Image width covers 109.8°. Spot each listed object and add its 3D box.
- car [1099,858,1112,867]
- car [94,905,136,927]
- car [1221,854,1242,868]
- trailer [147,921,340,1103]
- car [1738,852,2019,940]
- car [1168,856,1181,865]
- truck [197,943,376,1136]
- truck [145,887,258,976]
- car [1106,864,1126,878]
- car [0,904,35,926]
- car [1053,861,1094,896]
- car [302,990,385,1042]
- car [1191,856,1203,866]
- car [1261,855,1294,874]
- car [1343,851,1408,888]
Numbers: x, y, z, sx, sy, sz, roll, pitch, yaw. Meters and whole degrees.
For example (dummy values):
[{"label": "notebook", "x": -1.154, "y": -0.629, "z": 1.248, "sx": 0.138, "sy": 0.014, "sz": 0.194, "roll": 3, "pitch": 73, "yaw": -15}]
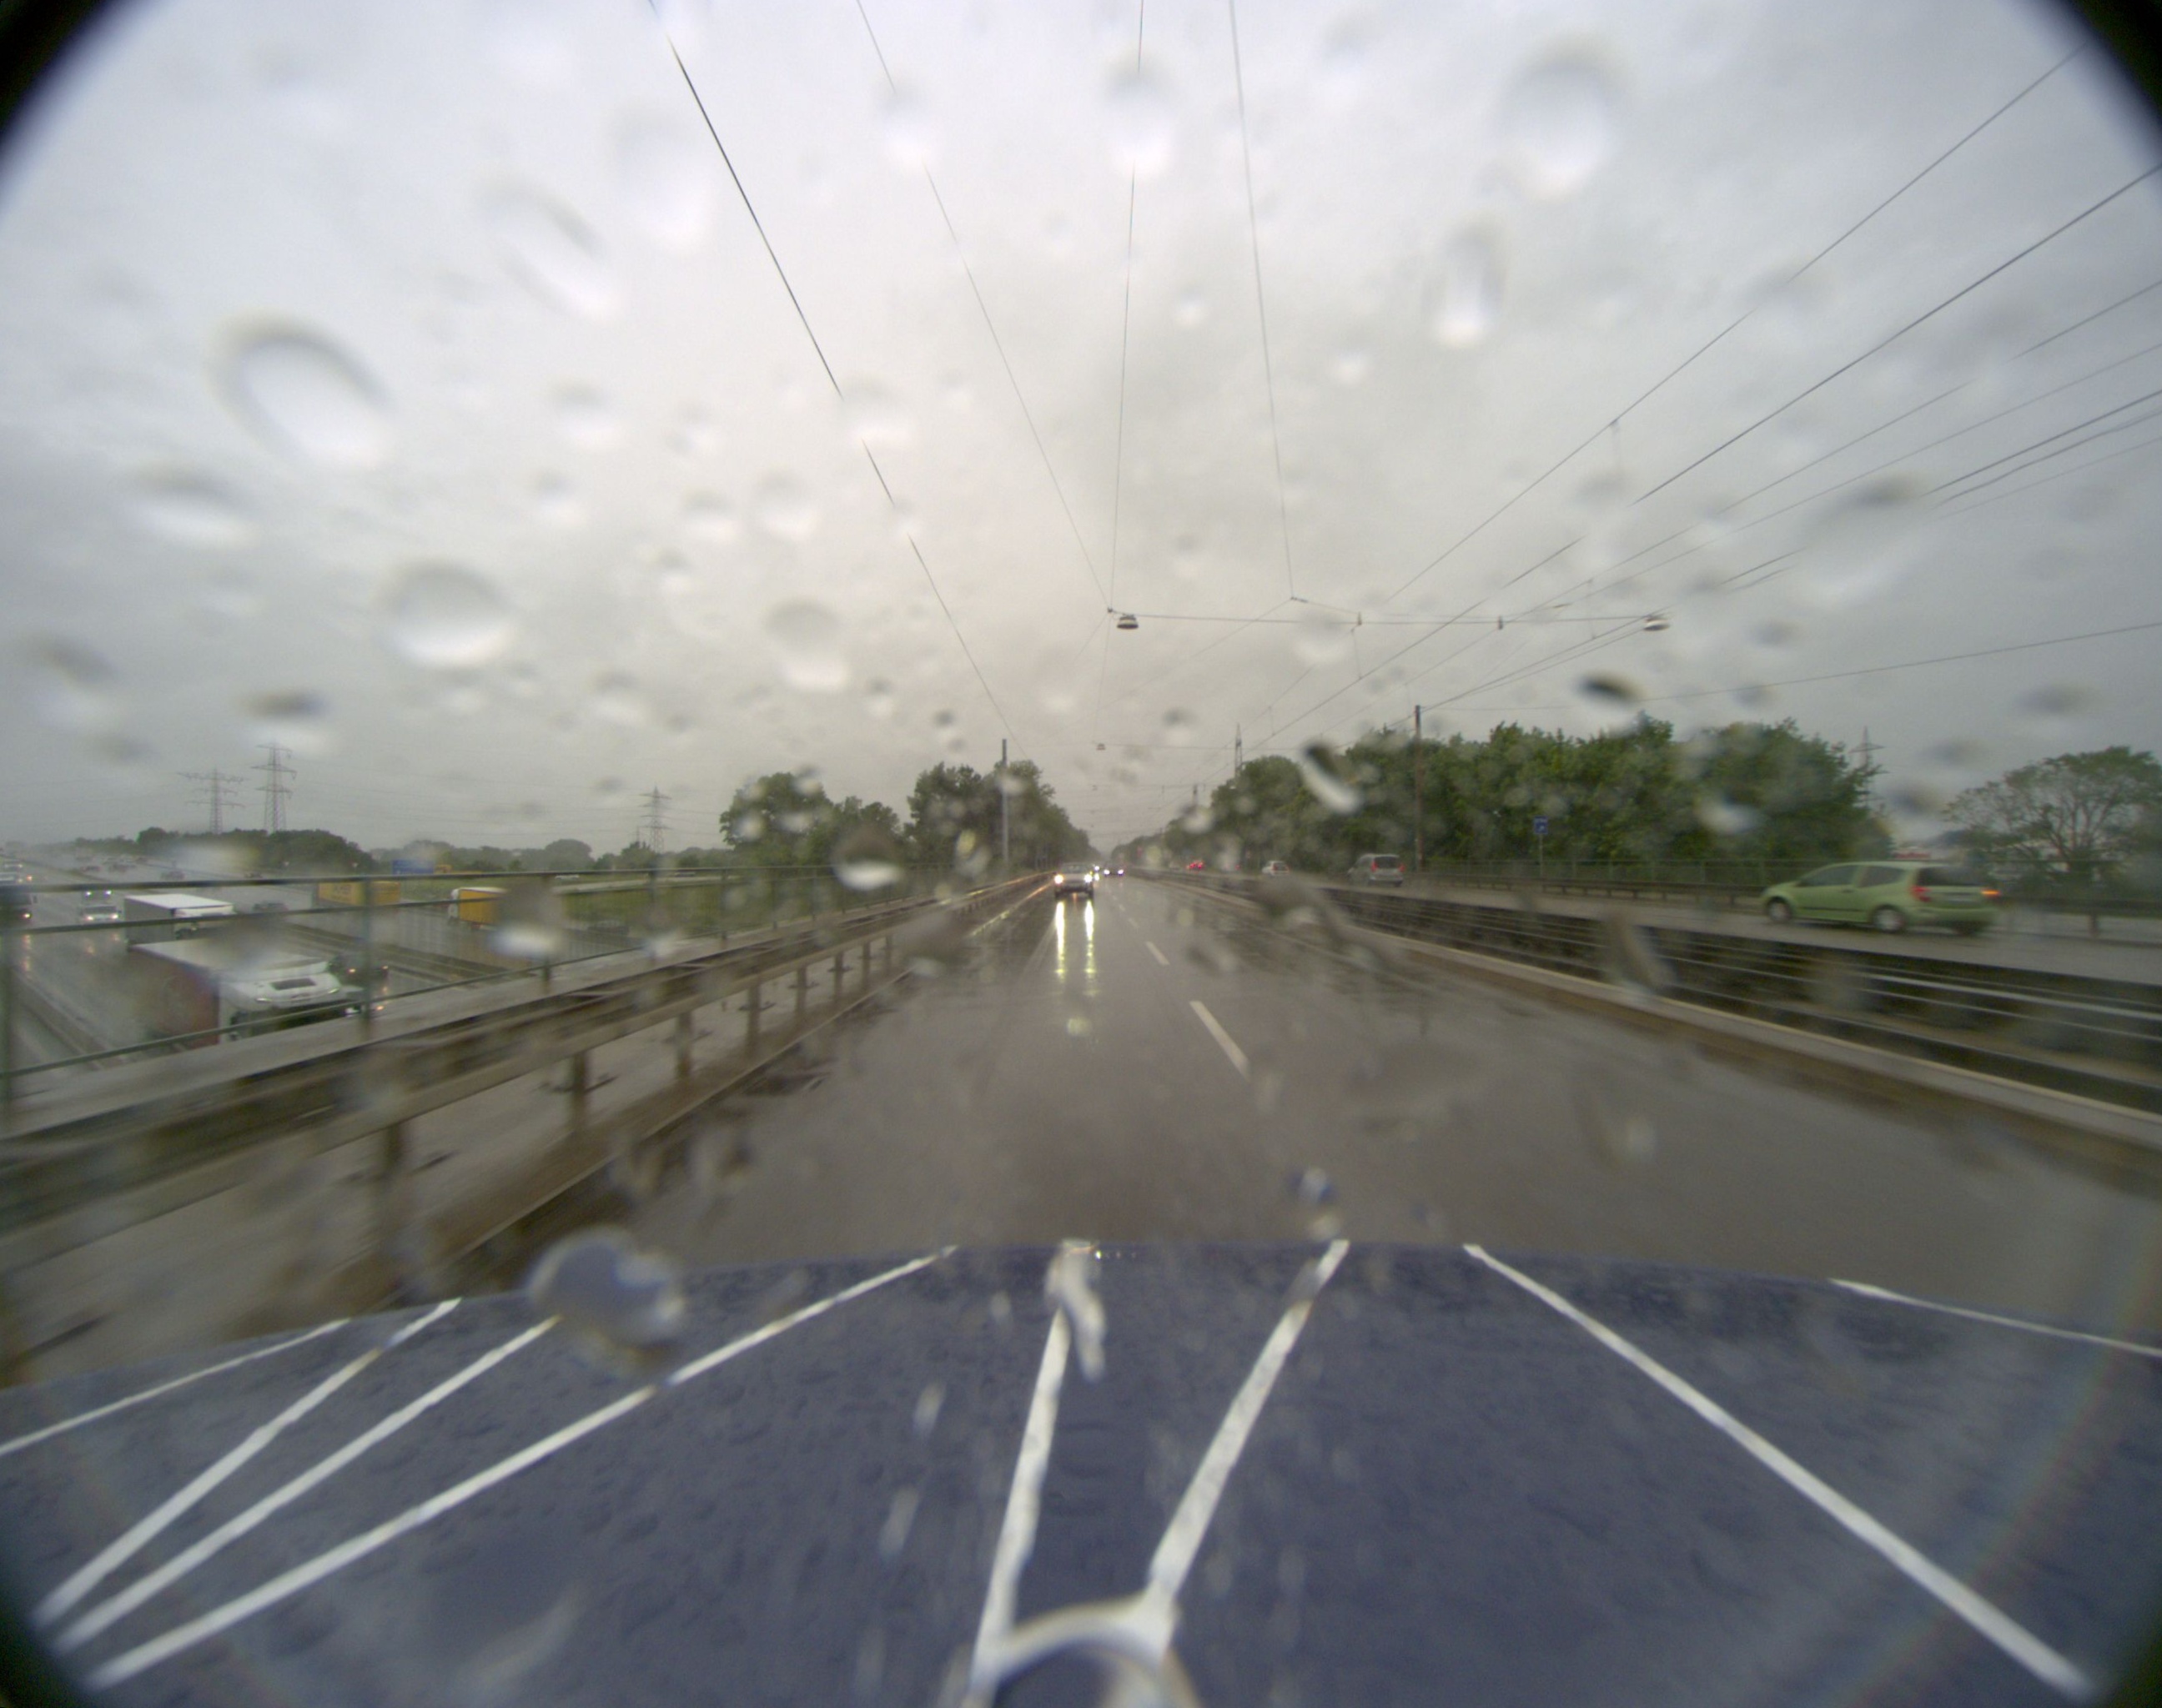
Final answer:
[{"label": "car", "x": 3.694, "y": 1.305, "z": 116.292, "sx": 1.971, "sy": 1.412, "sz": 4.000, "roll": 0, "pitch": 1, "yaw": 1}, {"label": "car", "x": -84.611, "y": 5.388, "z": 66.541, "sx": 3.860, "sy": 1.749, "sz": 1.930, "roll": -2, "pitch": 0, "yaw": 33}, {"label": "car", "x": 20.054, "y": 0.955, "z": 101.538, "sx": 1.837, "sy": 1.701, "sz": 4.661, "roll": -4, "pitch": 0, "yaw": 1}, {"label": "trailer", "x": -34.448, "y": 5.840, "z": 30.963, "sx": 13.803, "sy": 4.922, "sz": 3.148, "roll": 1, "pitch": 3, "yaw": 34}, {"label": "car", "x": 16.709, "y": 0.786, "z": 16.269, "sx": 1.851, "sy": 1.585, "sz": 4.000, "roll": -1, "pitch": 1, "yaw": 1}, {"label": "car", "x": 17.150, "y": 1.165, "z": 139.289, "sx": 1.777, "sy": 1.621, "sz": 3.670, "roll": -4, "pitch": 1, "yaw": 1}, {"label": "truck", "x": -27.555, "y": 6.083, "z": 26.330, "sx": 5.787, "sy": 5.087, "sz": 3.148, "roll": 1, "pitch": 3, "yaw": 34}, {"label": "truck", "x": -57.327, "y": 4.764, "z": 49.393, "sx": 12.343, "sy": 4.419, "sz": 3.148, "roll": 2, "pitch": 3, "yaw": 34}, {"label": "car", "x": 3.664, "y": 1.791, "z": 80.467, "sx": 1.971, "sy": 1.412, "sz": 4.000, "roll": 0, "pitch": 1, "yaw": 1}, {"label": "car", "x": -96.575, "y": 5.485, "z": 68.891, "sx": 3.860, "sy": 1.823, "sz": 1.874, "roll": -2, "pitch": 0, "yaw": 34}, {"label": "car", "x": -0.280, "y": 1.044, "z": 34.219, "sx": 1.751, "sy": 1.412, "sz": 4.000, "roll": 0, "pitch": 1, "yaw": 1}, {"label": "car", "x": -33.695, "y": 7.339, "z": 34.705, "sx": 3.988, "sy": 1.491, "sz": 1.809, "roll": 1, "pitch": 4, "yaw": 33}, {"label": "car", "x": 21.397, "y": 1.339, "z": 140.469, "sx": 1.777, "sy": 1.621, "sz": 3.672, "roll": -4, "pitch": 1, "yaw": 5}, {"label": "car", "x": 17.351, "y": 0.907, "z": 67.250, "sx": 1.998, "sy": 1.608, "sz": 4.000, "roll": -1, "pitch": 1, "yaw": 1}, {"label": "car", "x": 16.429, "y": 0.795, "z": 42.601, "sx": 1.853, "sy": 1.821, "sz": 4.393, "roll": -4, "pitch": 0, "yaw": 1}]
